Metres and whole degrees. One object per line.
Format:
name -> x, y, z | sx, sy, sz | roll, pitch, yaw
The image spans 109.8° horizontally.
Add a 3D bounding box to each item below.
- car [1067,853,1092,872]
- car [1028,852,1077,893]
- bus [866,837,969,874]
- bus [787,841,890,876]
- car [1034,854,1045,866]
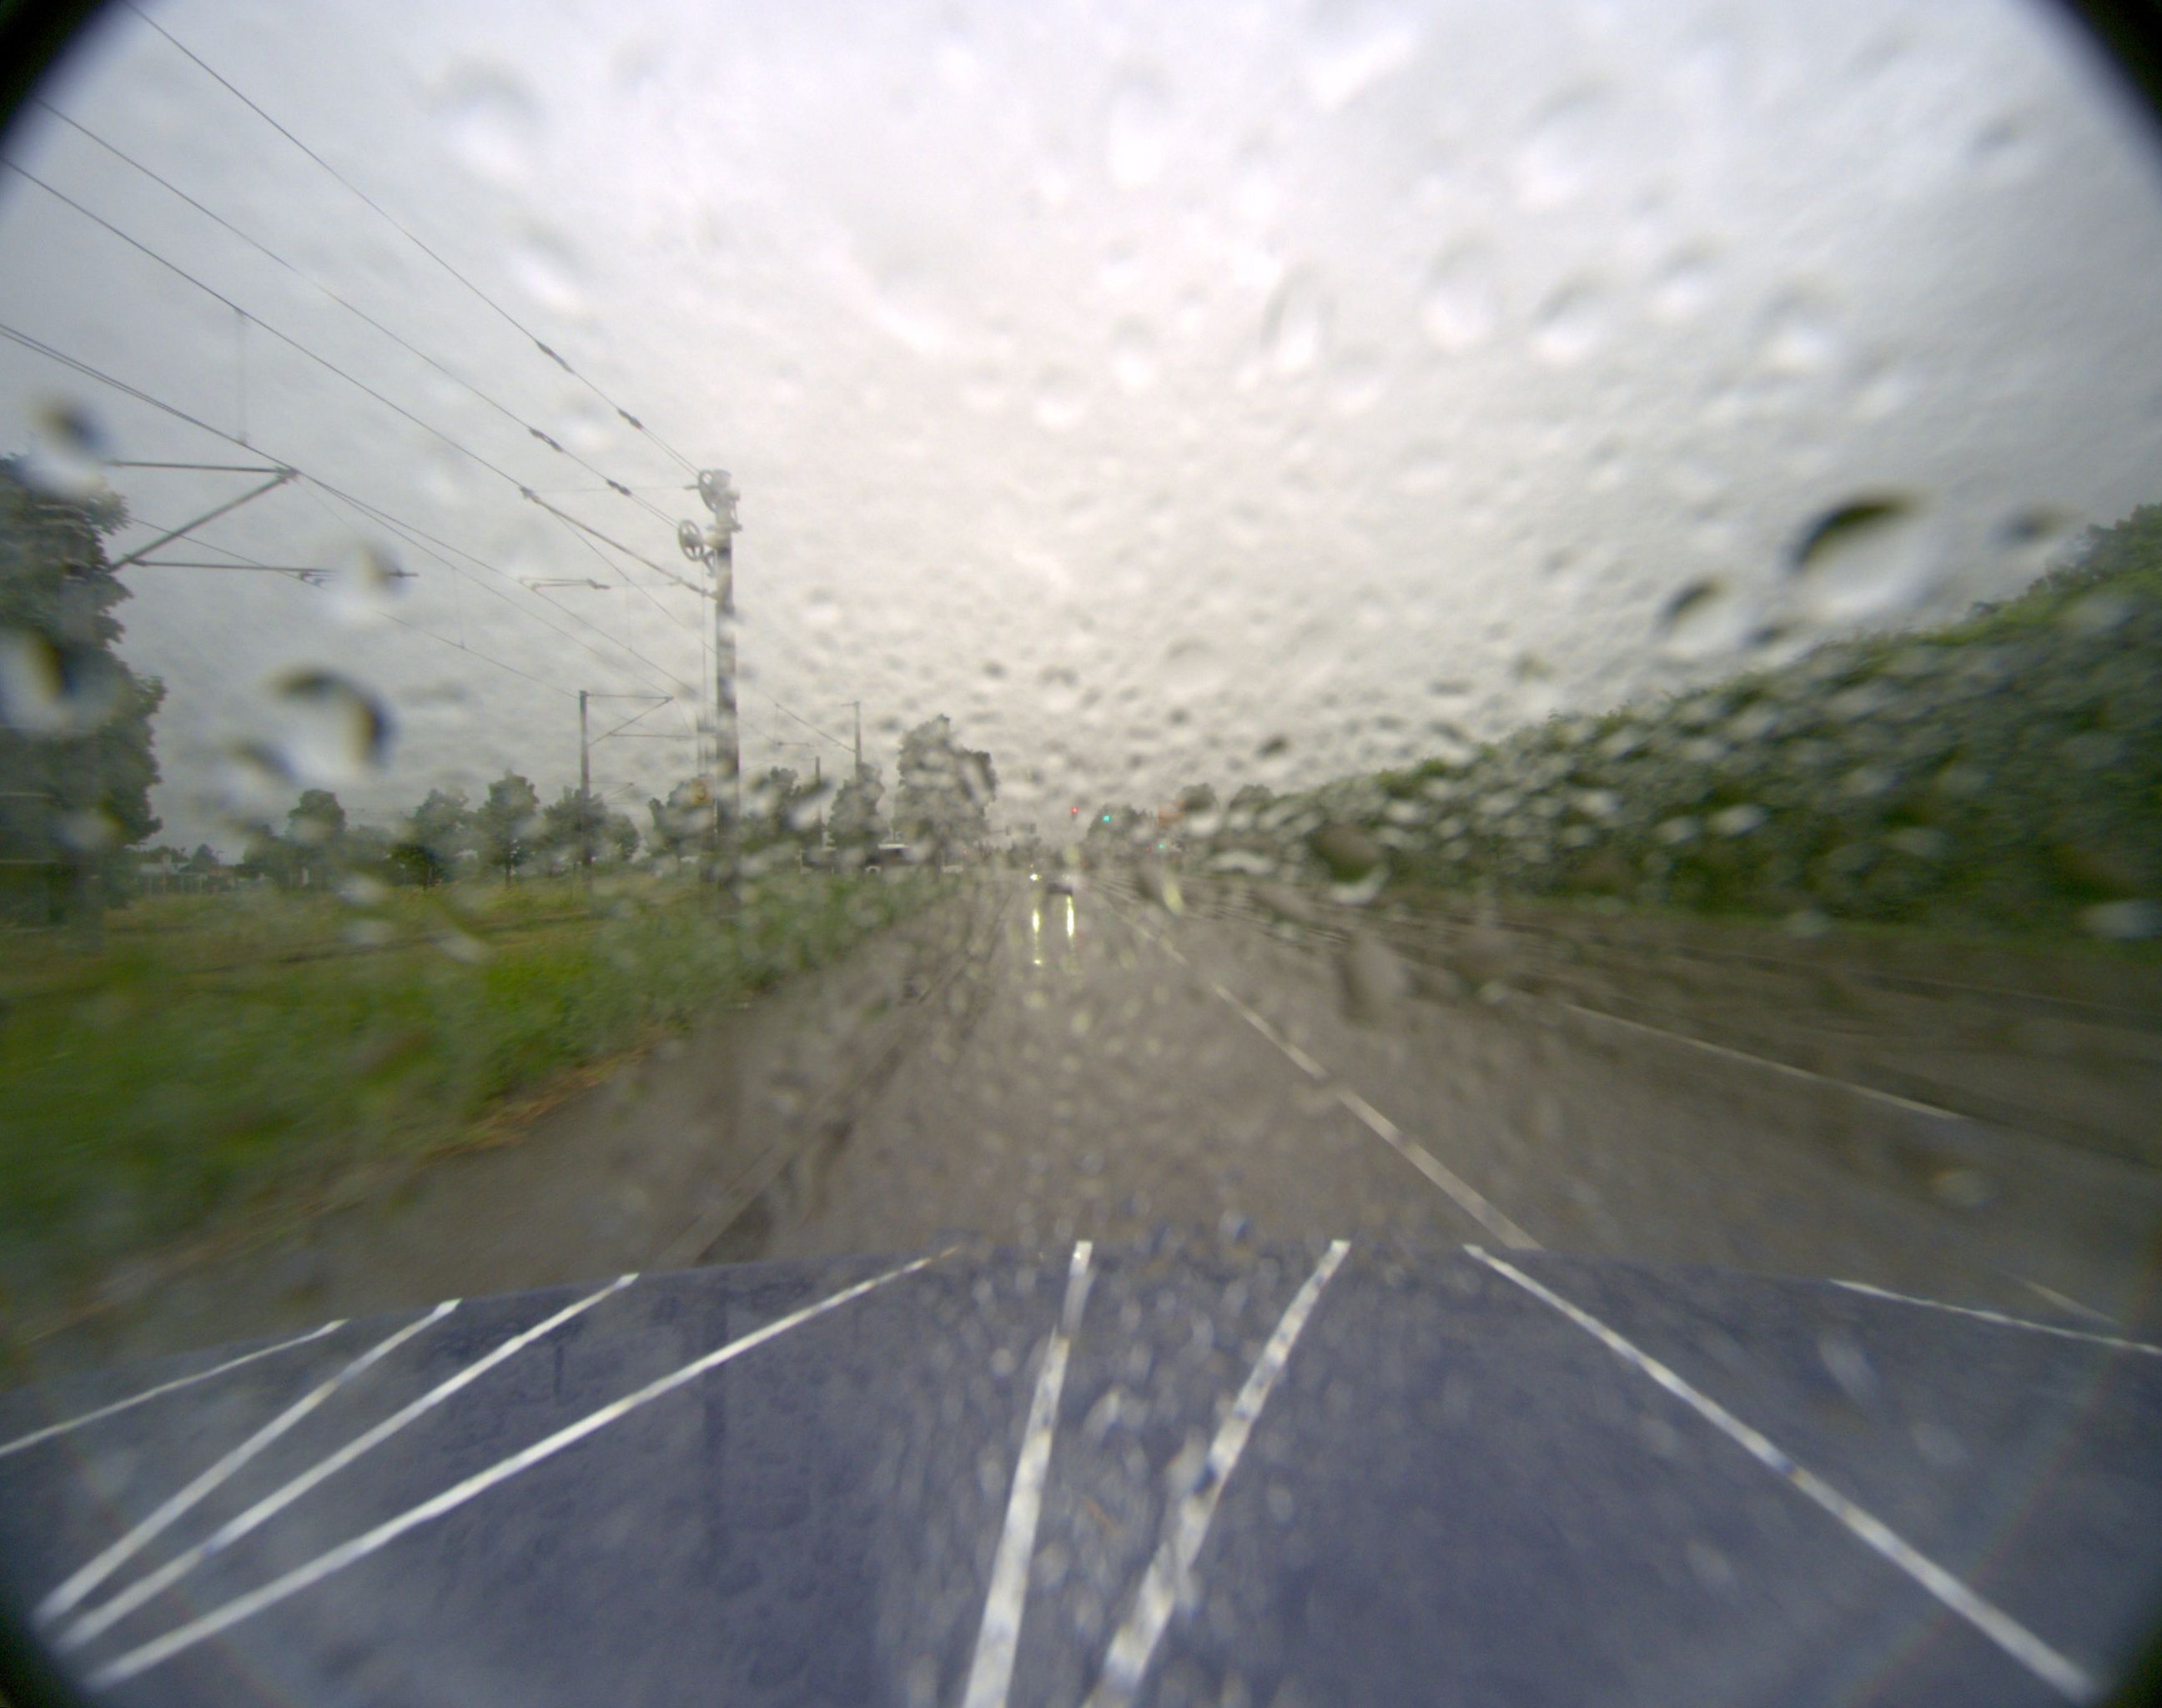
car -> -0.133, 0.733, 64.945 | 1.767, 1.528, 3.874 | -1, 1, -5
car -> -1.313, 0.785, 33.925 | 1.999, 1.622, 3.998 | -2, 1, -3
bus -> -14.693, 0.201, 67.733 | 9.967, 3.059, 2.683 | -1, 1, 34
bus -> -23.227, 0.433, 72.533 | 9.970, 3.059, 2.682 | -2, 1, 24
car -> -7.332, 1.055, 134.358 | 1.921, 2.002, 3.998 | -2, 1, -4
